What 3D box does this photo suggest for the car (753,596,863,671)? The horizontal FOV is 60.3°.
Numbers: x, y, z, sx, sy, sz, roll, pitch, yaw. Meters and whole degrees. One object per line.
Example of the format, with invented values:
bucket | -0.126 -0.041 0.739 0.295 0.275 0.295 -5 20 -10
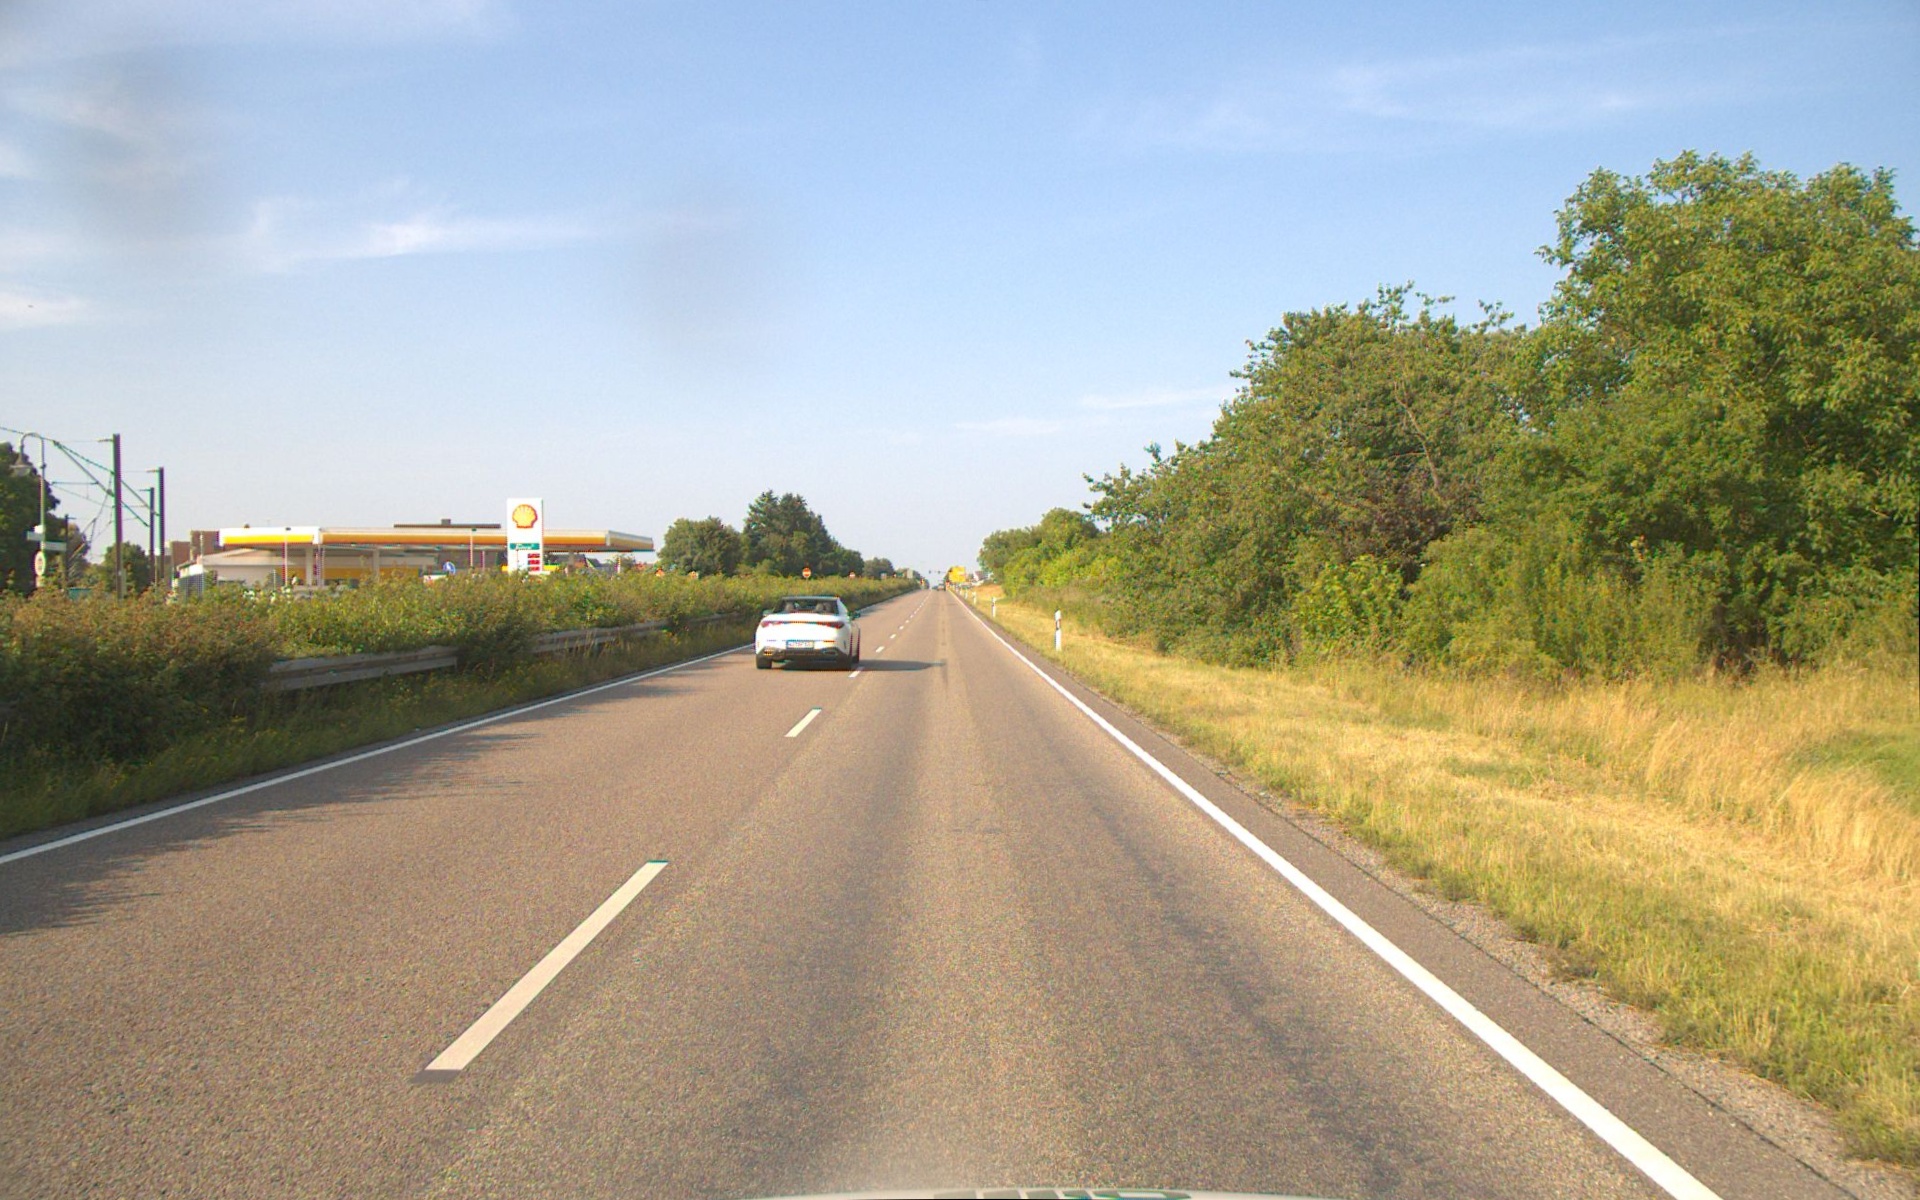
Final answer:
car | -2.956 0.614 33.053 1.735 1.361 4.949 1 0 0
